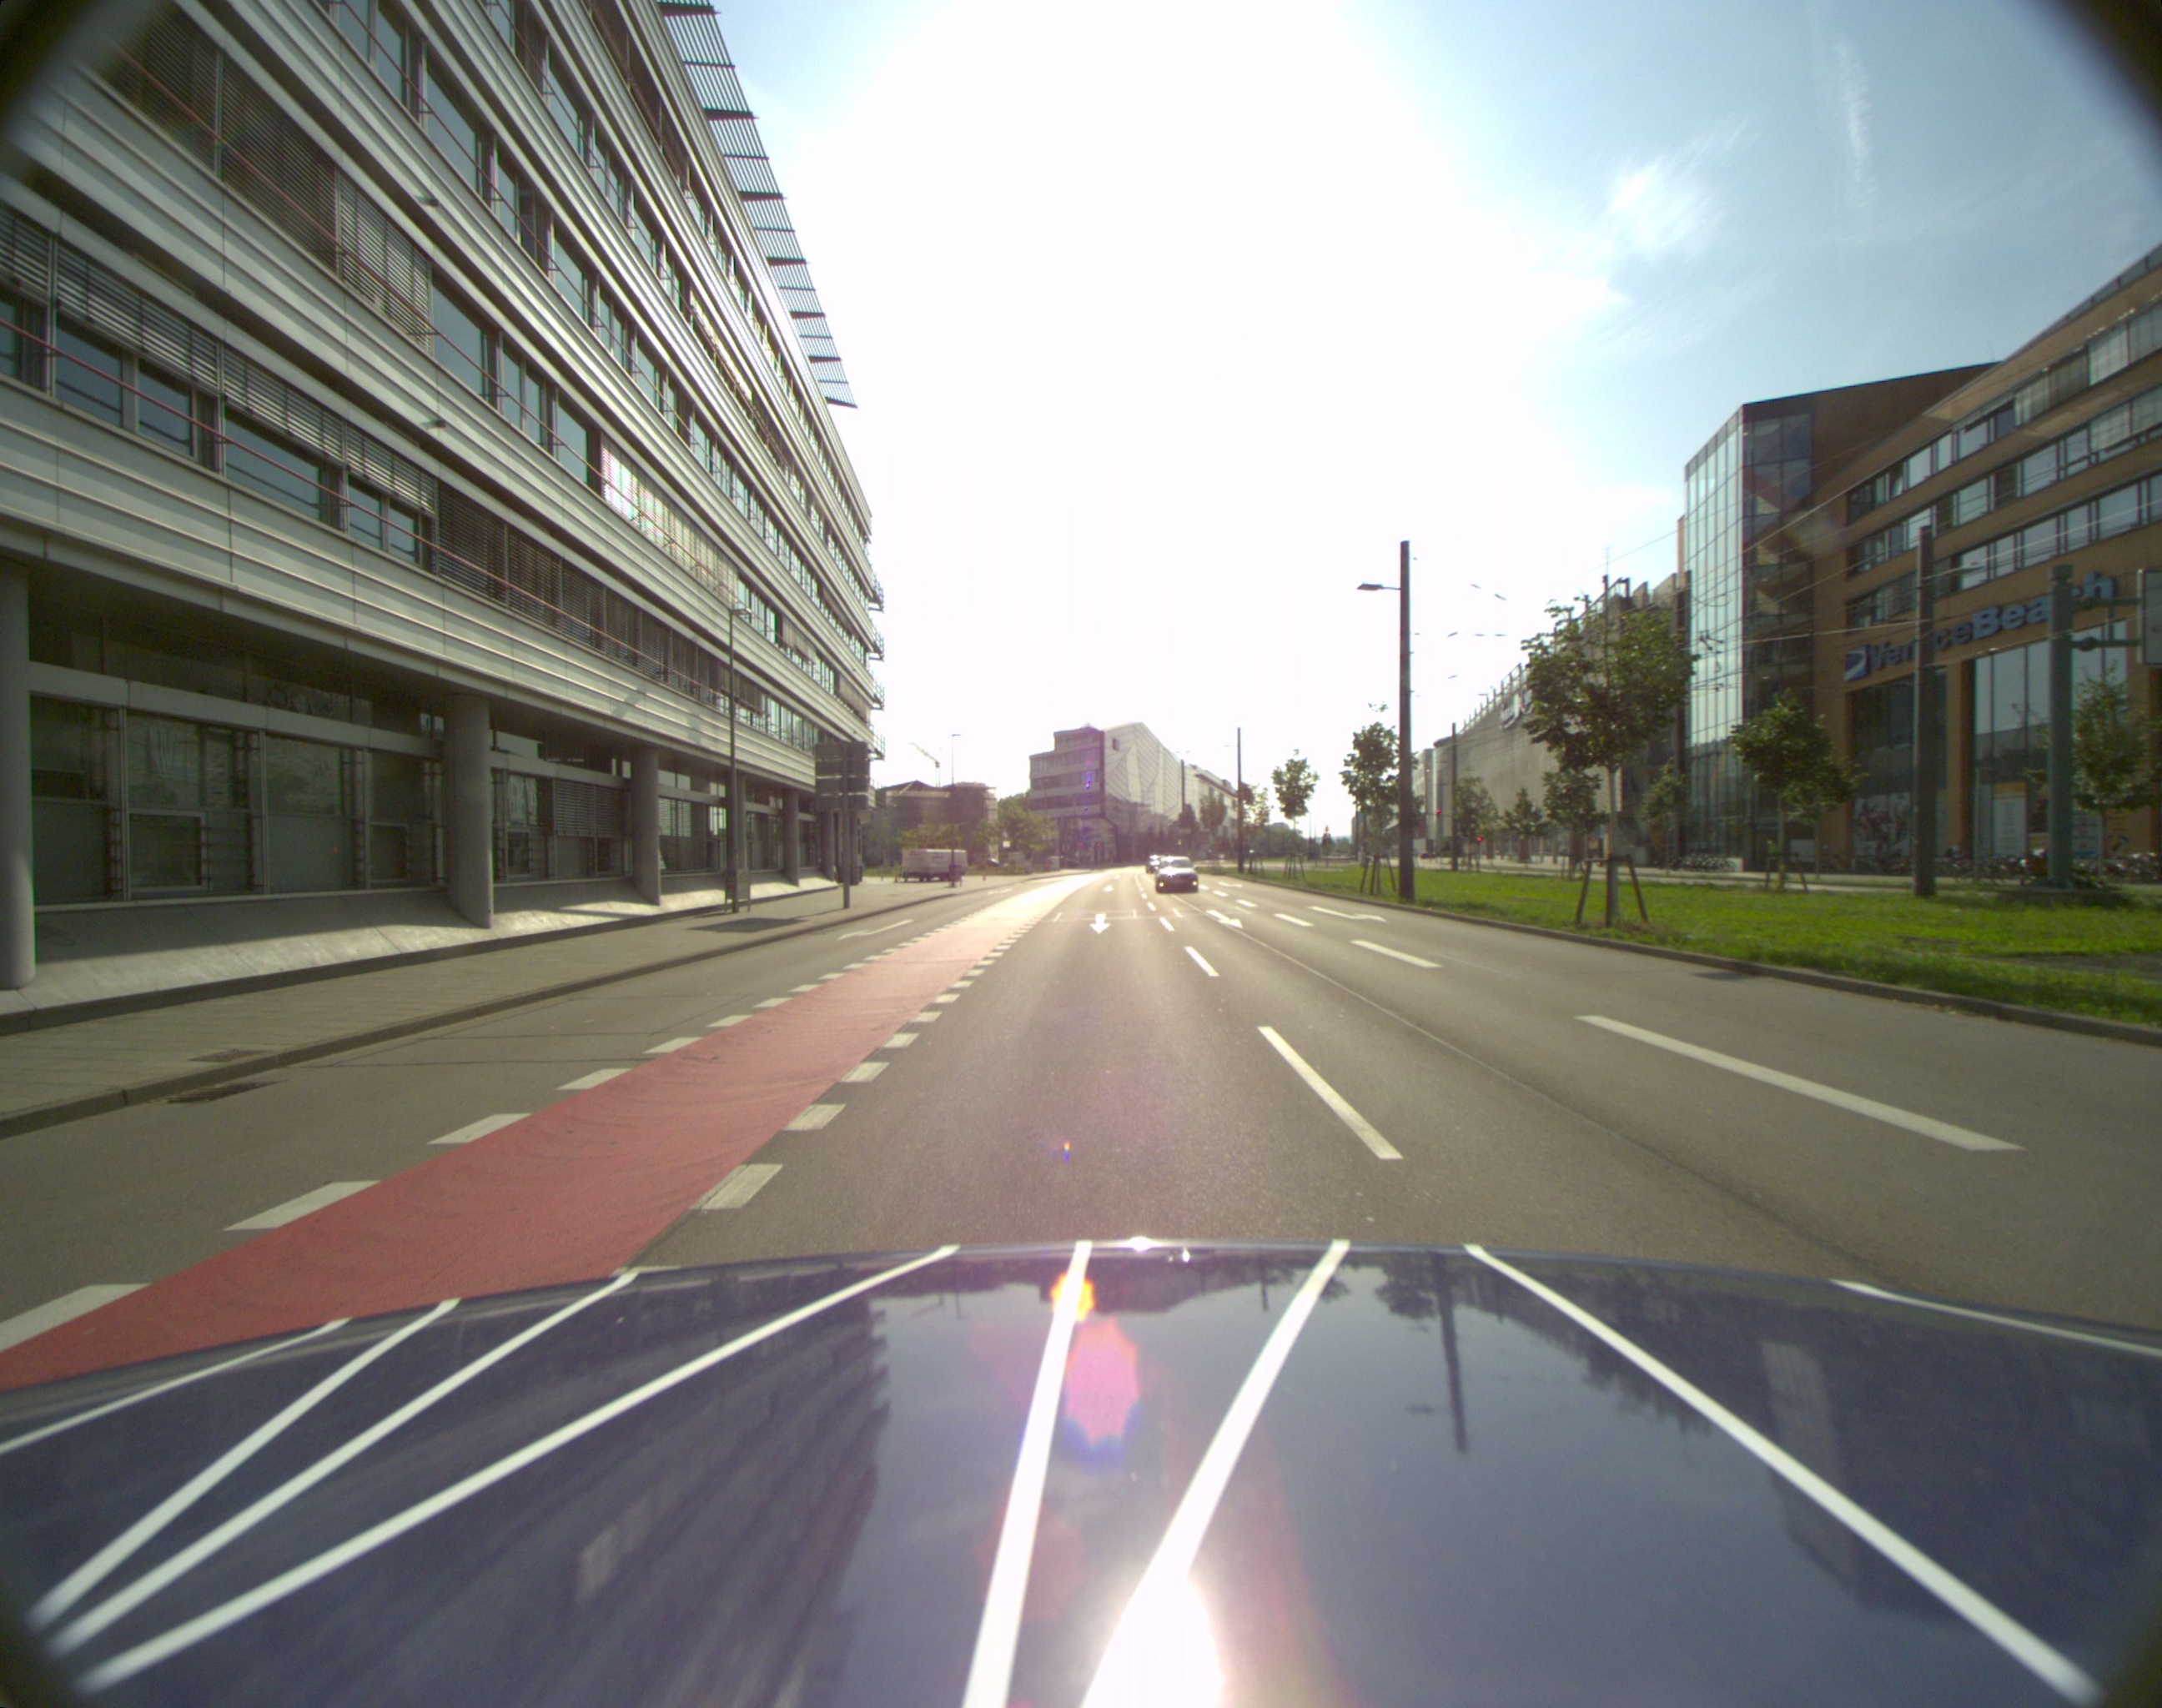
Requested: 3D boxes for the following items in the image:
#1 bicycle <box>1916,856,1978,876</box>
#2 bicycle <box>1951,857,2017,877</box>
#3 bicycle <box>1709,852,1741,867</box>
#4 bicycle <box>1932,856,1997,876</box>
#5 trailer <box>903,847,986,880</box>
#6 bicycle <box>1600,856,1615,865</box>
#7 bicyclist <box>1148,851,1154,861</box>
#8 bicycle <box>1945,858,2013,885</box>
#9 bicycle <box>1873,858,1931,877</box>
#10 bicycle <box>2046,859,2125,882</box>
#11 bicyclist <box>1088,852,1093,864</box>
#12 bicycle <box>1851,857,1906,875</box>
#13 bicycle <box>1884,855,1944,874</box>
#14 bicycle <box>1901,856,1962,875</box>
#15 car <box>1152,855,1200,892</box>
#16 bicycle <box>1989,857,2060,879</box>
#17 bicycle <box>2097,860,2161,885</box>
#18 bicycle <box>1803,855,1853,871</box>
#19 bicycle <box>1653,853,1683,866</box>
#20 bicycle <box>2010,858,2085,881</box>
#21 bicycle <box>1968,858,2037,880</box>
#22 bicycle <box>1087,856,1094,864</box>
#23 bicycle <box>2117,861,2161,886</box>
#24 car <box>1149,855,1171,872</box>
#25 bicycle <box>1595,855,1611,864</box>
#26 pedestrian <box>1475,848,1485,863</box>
[{"bbox_3d":[41.715,0.584,36.624,2.051,0.916,0.574,-1,1,12],"label":"bicycle"},{"bbox_3d":[41.418,0.598,34.867,2.051,0.916,0.574,-1,1,12],"label":"bicycle"},{"bbox_3d":[41.366,0.348,48.818,1.581,0.935,0.411,-1,1,15],"label":"bicycle"},{"bbox_3d":[41.522,0.578,35.725,2.051,0.916,0.574,-1,1,12],"label":"bicycle"},{"bbox_3d":[-9.308,0.610,52.282,2.390,2.138,5.960,-1,0,29],"label":"trailer"},{"bbox_3d":[43.901,0.517,63.350,1.022,0.747,0.361,-1,1,19],"label":"bicycle"},{"bbox_3d":[11.670,0.303,127.209,0.781,1.577,0.933,0,2,24],"label":"bicyclist"},{"bbox_3d":[34.759,0.679,29.421,1.679,0.902,0.710,-4,1,4],"label":"bicycle"},{"bbox_3d":[42.189,0.685,39.053,2.051,0.916,0.574,-1,1,12],"label":"bicycle"},{"bbox_3d":[40.489,0.672,30.644,2.051,0.916,0.574,-1,1,12],"label":"bicycle"},{"bbox_3d":[1.339,0.524,106.212,0.669,1.693,0.637,0,2,7],"label":"bicyclist"},{"bbox_3d":[42.410,0.623,40.442,2.051,0.916,0.574,-1,1,12],"label":"bicycle"},{"bbox_3d":[41.882,0.547,38.220,2.051,0.916,0.574,-1,1,12],"label":"bicycle"},{"bbox_3d":[41.887,0.552,37.448,2.051,0.916,0.574,-1,1,12],"label":"bicycle"},{"bbox_3d":[3.946,0.787,32.130,1.643,1.411,3.895,-1,1,2],"label":"car"},{"bbox_3d":[41.134,0.626,33.138,2.051,0.916,0.574,-1,1,12],"label":"bicycle"},{"bbox_3d":[40.286,0.698,29.010,2.051,0.916,0.381,-1,1,12],"label":"bicycle"},{"bbox_3d":[43.262,0.504,44.019,2.051,0.916,0.574,-1,1,12],"label":"bicycle"},{"bbox_3d":[40.989,0.391,53.069,1.581,0.934,0.473,-1,0,17],"label":"bicycle"},{"bbox_3d":[40.996,0.662,32.247,2.051,0.916,0.574,-1,1,12],"label":"bicycle"},{"bbox_3d":[41.253,0.672,34.023,2.051,0.916,0.574,-1,1,12],"label":"bicycle"},{"bbox_3d":[1.333,0.840,106.129,0.669,1.092,1.805,-1,2,7],"label":"bicycle"},{"bbox_3d":[40.170,0.722,28.282,2.051,0.916,0.574,-1,1,12],"label":"bicycle"},{"bbox_3d":[6.609,0.768,63.943,1.587,1.335,3.165,-1,0,1],"label":"car"},{"bbox_3d":[44.286,0.506,64.480,1.004,0.747,0.453,-1,0,19],"label":"bicycle"},{"bbox_3d":[41.661,0.146,79.346,0.762,1.570,0.590,0,1,13],"label":"pedestrian"}]
